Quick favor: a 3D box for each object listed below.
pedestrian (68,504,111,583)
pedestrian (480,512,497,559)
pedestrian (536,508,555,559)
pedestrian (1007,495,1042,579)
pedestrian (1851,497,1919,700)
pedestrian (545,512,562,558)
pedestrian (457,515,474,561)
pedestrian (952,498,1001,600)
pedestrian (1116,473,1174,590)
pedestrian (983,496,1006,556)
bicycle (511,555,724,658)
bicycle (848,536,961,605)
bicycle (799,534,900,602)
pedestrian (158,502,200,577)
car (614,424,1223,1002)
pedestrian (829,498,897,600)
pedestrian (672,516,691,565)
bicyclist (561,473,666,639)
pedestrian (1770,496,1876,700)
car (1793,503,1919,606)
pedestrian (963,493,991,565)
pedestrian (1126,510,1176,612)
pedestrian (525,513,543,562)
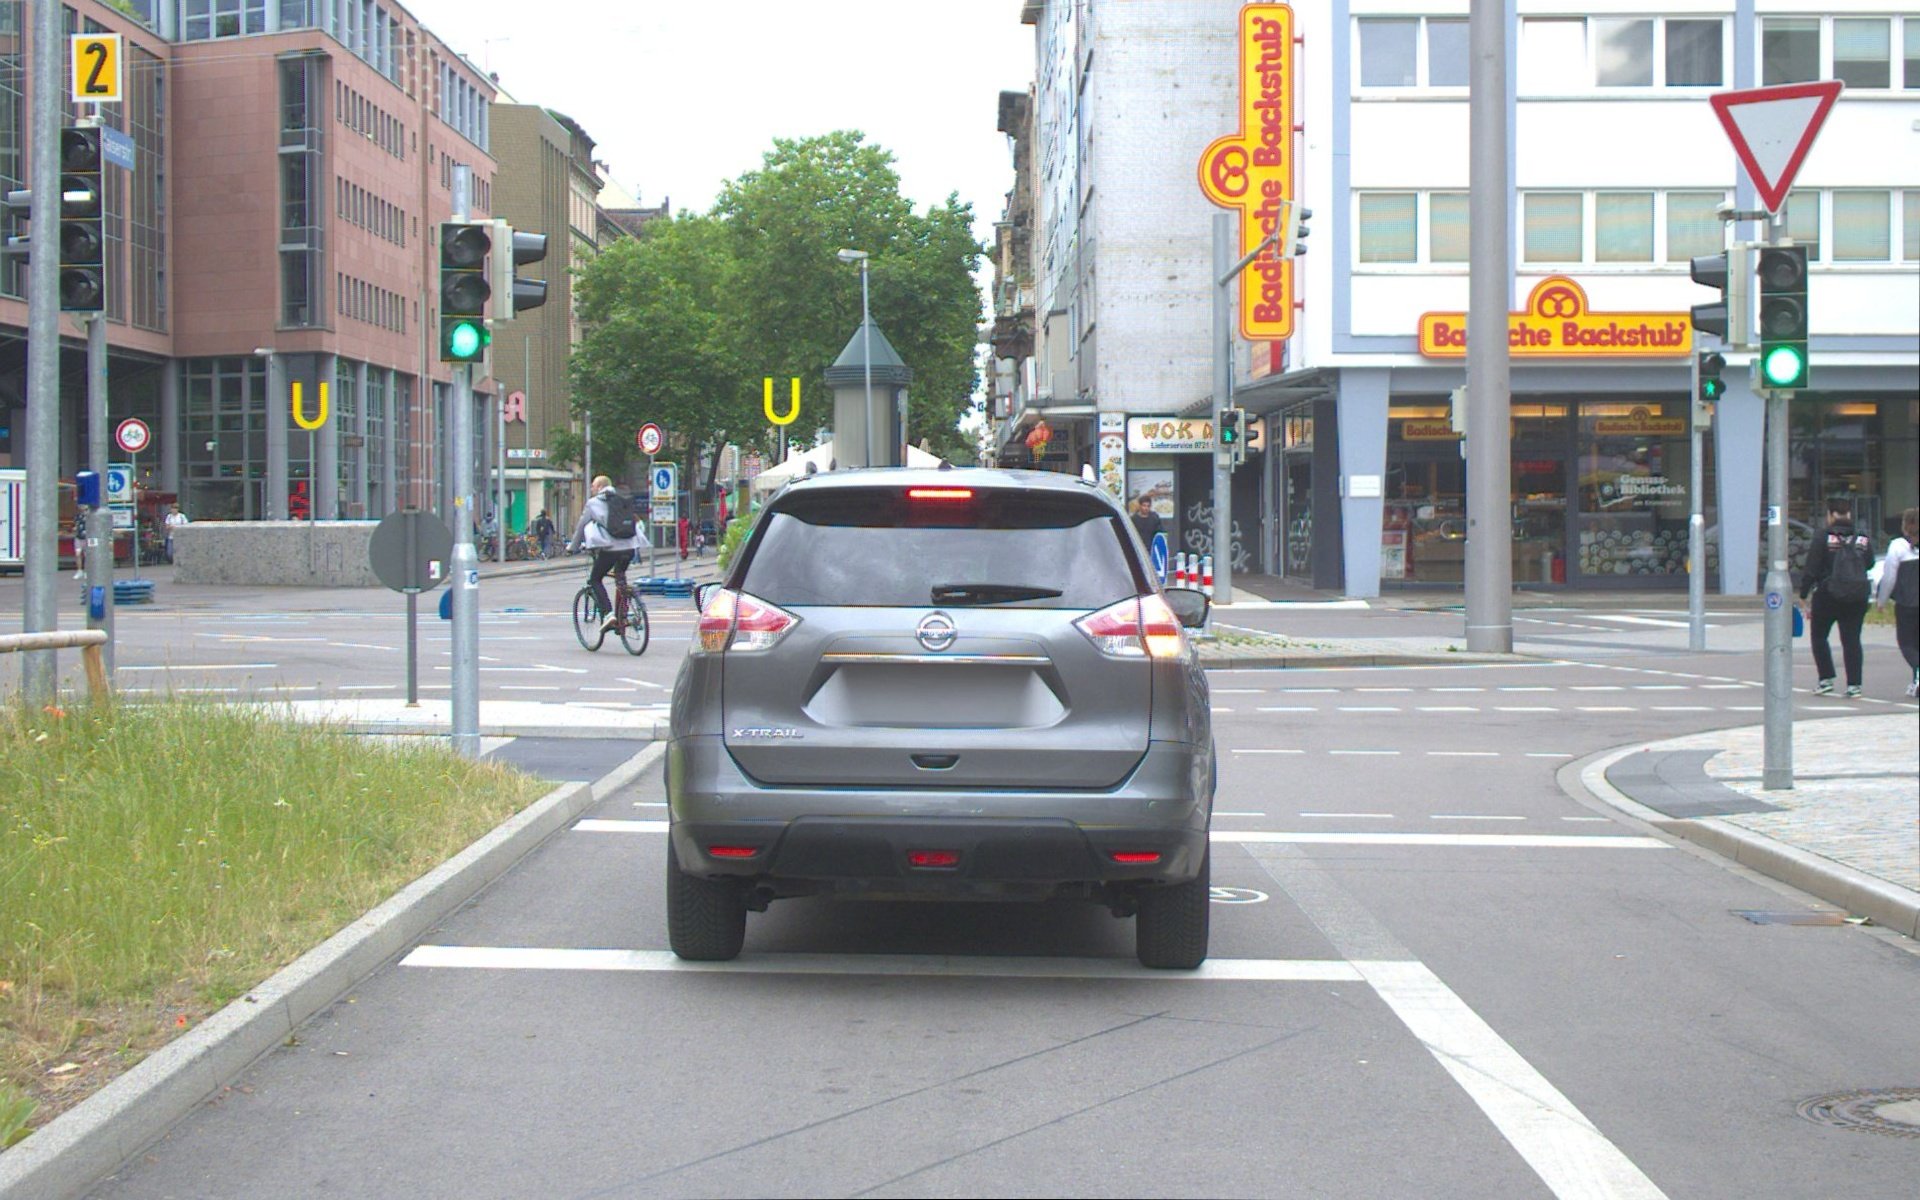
[{"bbox_3d":[-20.315,-1.323,80.212,0.732,1.835,0.702,0,2,-38],"label":"pedestrian"},{"bbox_3d":[-17.587,-2.407,128.172,0.600,1.708,0.656,1,1,-7],"label":"pedestrian"},{"bbox_3d":[-14.196,-2.283,117.790,0.600,1.708,0.656,1,1,-7],"label":"pedestrian"},{"bbox_3d":[1.404,-1.374,74.804,0.737,1.815,0.662,0,1,-2],"label":"pedestrian"},{"bbox_3d":[8.302,-0.018,30.207,0.621,1.755,0.780,1,1,-7],"label":"pedestrian"},{"bbox_3d":[-15.524,-2.484,131.226,0.600,1.708,0.656,1,1,-7],"label":"pedestrian"},{"bbox_3d":[-18.429,-2.316,128.142,0.600,1.708,0.656,1,1,-7],"label":"pedestrian"},{"bbox_3d":[0.275,-0.880,59.478,0.732,1.739,0.663,1,1,-8],"label":"pedestrian"},{"bbox_3d":[2.917,-1.081,54.337,0.712,1.826,1.017,1,1,-7],"label":"pedestrian"},{"bbox_3d":[0.968,-2.092,97.256,0.611,1.699,0.619,1,1,1],"label":"pedestrian"},{"bbox_3d":[-3.825,0.049,38.040,0.902,1.041,3.277,-1,2,-34],"label":"bicycle"},{"bbox_3d":[-0.971,-0.512,59.960,1.866,1.167,0.531,1,1,-14],"label":"bicycle"},{"bbox_3d":[-1.941,-0.564,60.353,1.695,1.167,0.437,1,1,-11],"label":"bicycle"},{"bbox_3d":[-19.370,-1.502,85.263,0.701,1.835,0.734,2,1,20],"label":"pedestrian"},{"bbox_3d":[-0.106,0.331,12.896,1.863,1.769,4.567,-1,0,1],"label":"car"},{"bbox_3d":[-1.650,-0.875,58.516,0.927,1.699,0.734,2,1,20],"label":"pedestrian"},{"bbox_3d":[-9.954,-2.125,122.921,0.600,1.708,0.656,1,1,-7],"label":"pedestrian"},{"bbox_3d":[-3.835,-0.495,38.019,0.834,1.806,0.877,0,2,-32],"label":"bicyclist"},{"bbox_3d":[7.558,-0.024,30.121,0.621,1.755,0.780,1,1,-7],"label":"pedestrian"},{"bbox_3d":[14.875,-0.699,51.035,4.551,1.476,1.749,-1,1,-2],"label":"car"},{"bbox_3d":[0.411,-1.705,82.645,0.643,1.699,0.559,1,1,1],"label":"pedestrian"},{"bbox_3d":[3.251,-0.665,58.432,0.710,1.699,0.734,1,1,12],"label":"pedestrian"},{"bbox_3d":[-14.992,-2.196,120.898,0.600,1.708,0.656,1,1,-7],"label":"pedestrian"}]
